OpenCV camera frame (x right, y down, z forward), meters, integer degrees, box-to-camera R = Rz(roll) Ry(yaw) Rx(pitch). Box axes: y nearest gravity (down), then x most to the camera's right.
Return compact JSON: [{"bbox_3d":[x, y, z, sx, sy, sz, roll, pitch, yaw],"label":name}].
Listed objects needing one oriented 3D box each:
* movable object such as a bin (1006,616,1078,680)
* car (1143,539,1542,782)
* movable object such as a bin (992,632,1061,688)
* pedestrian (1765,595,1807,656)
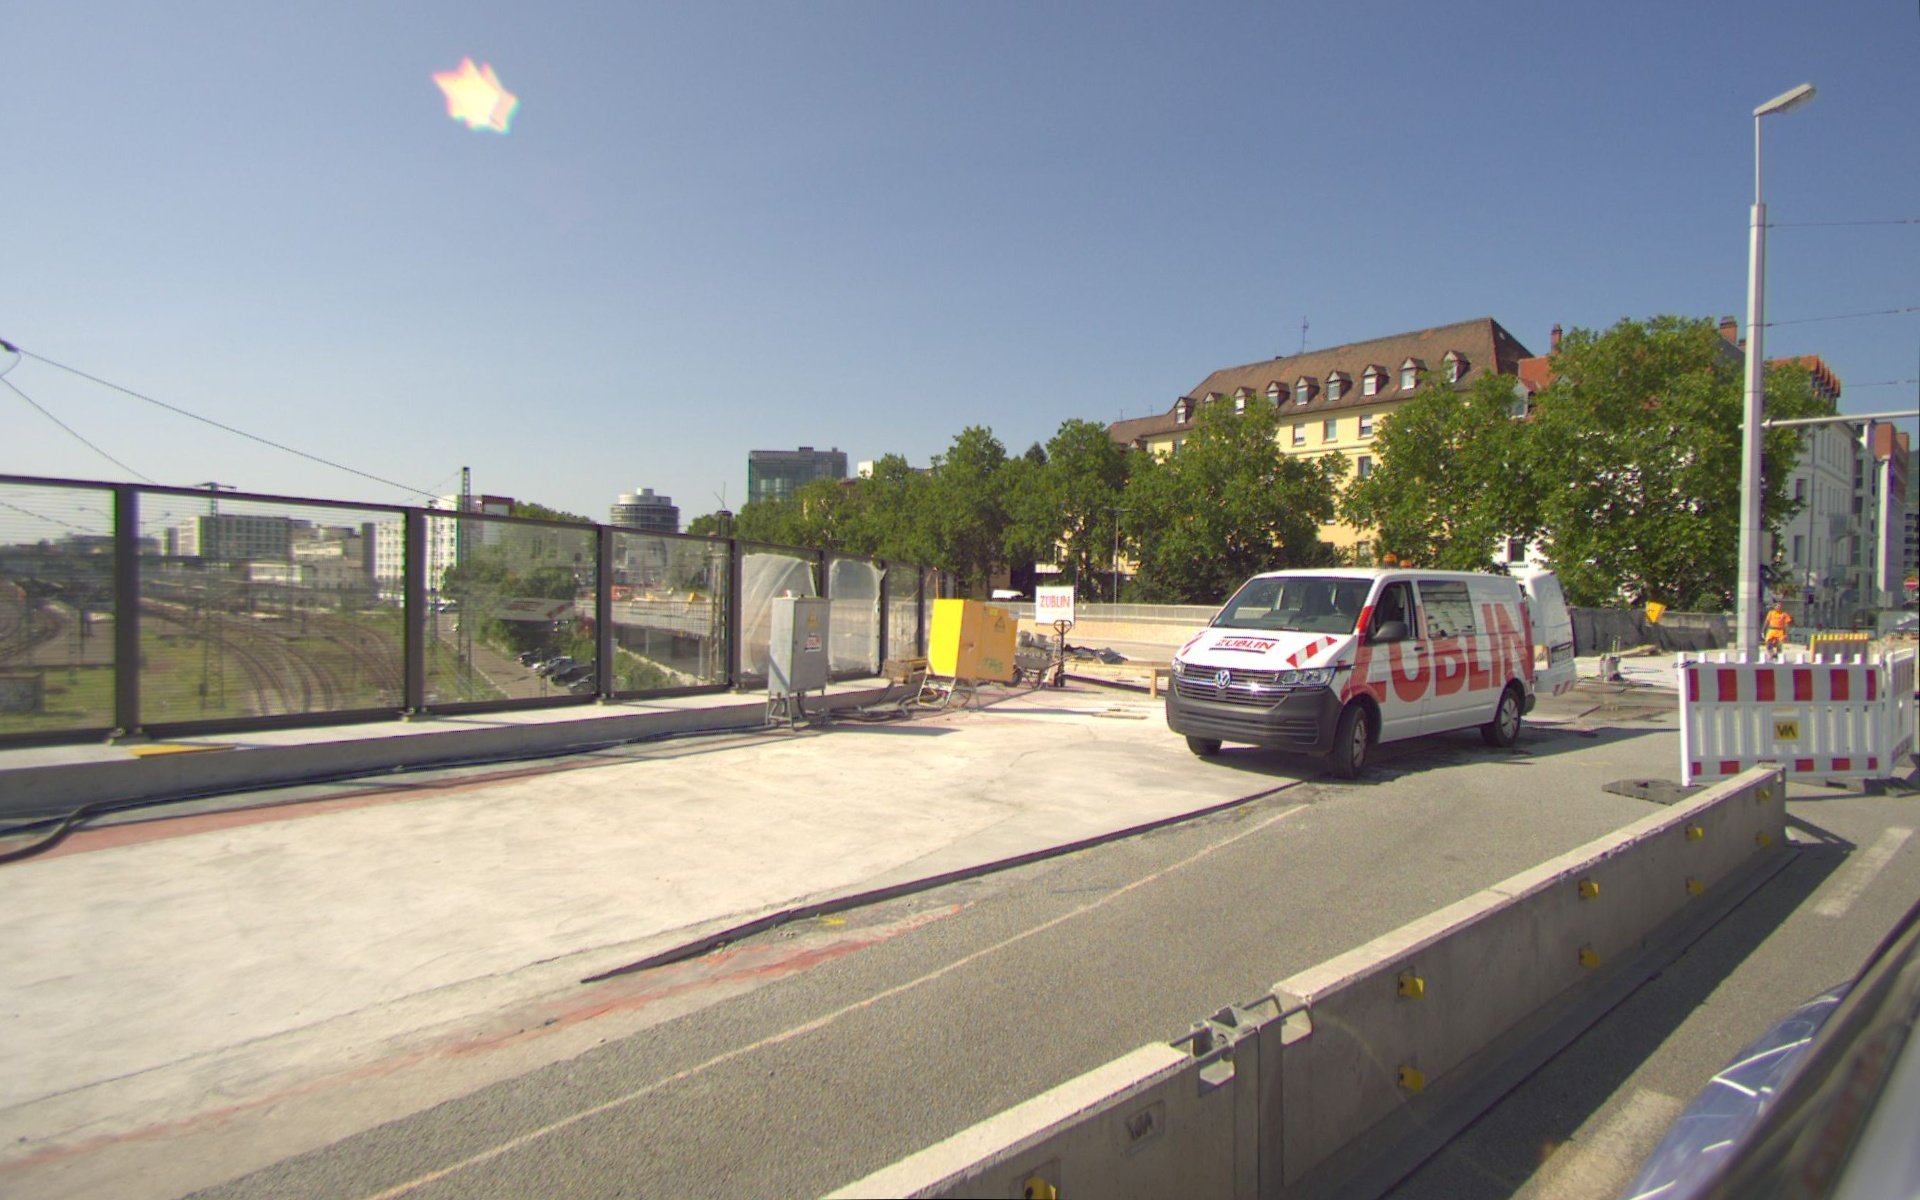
[{"bbox_3d":[1.544,0.925,19.528,0.595,1.144,2.045,-2,-2,-18],"label":"movable object such as a bin"},{"bbox_3d":[4.257,0.503,10.835,4.803,2.059,1.883,0,0,-40],"label":"car"},{"bbox_3d":[1.170,1.059,18.003,1.084,0.853,0.757,4,0,-1],"label":"movable object such as a bin"},{"bbox_3d":[25.611,0.785,31.382,0.849,1.817,0.821,1,2,-42],"label":"pedestrian"}]
